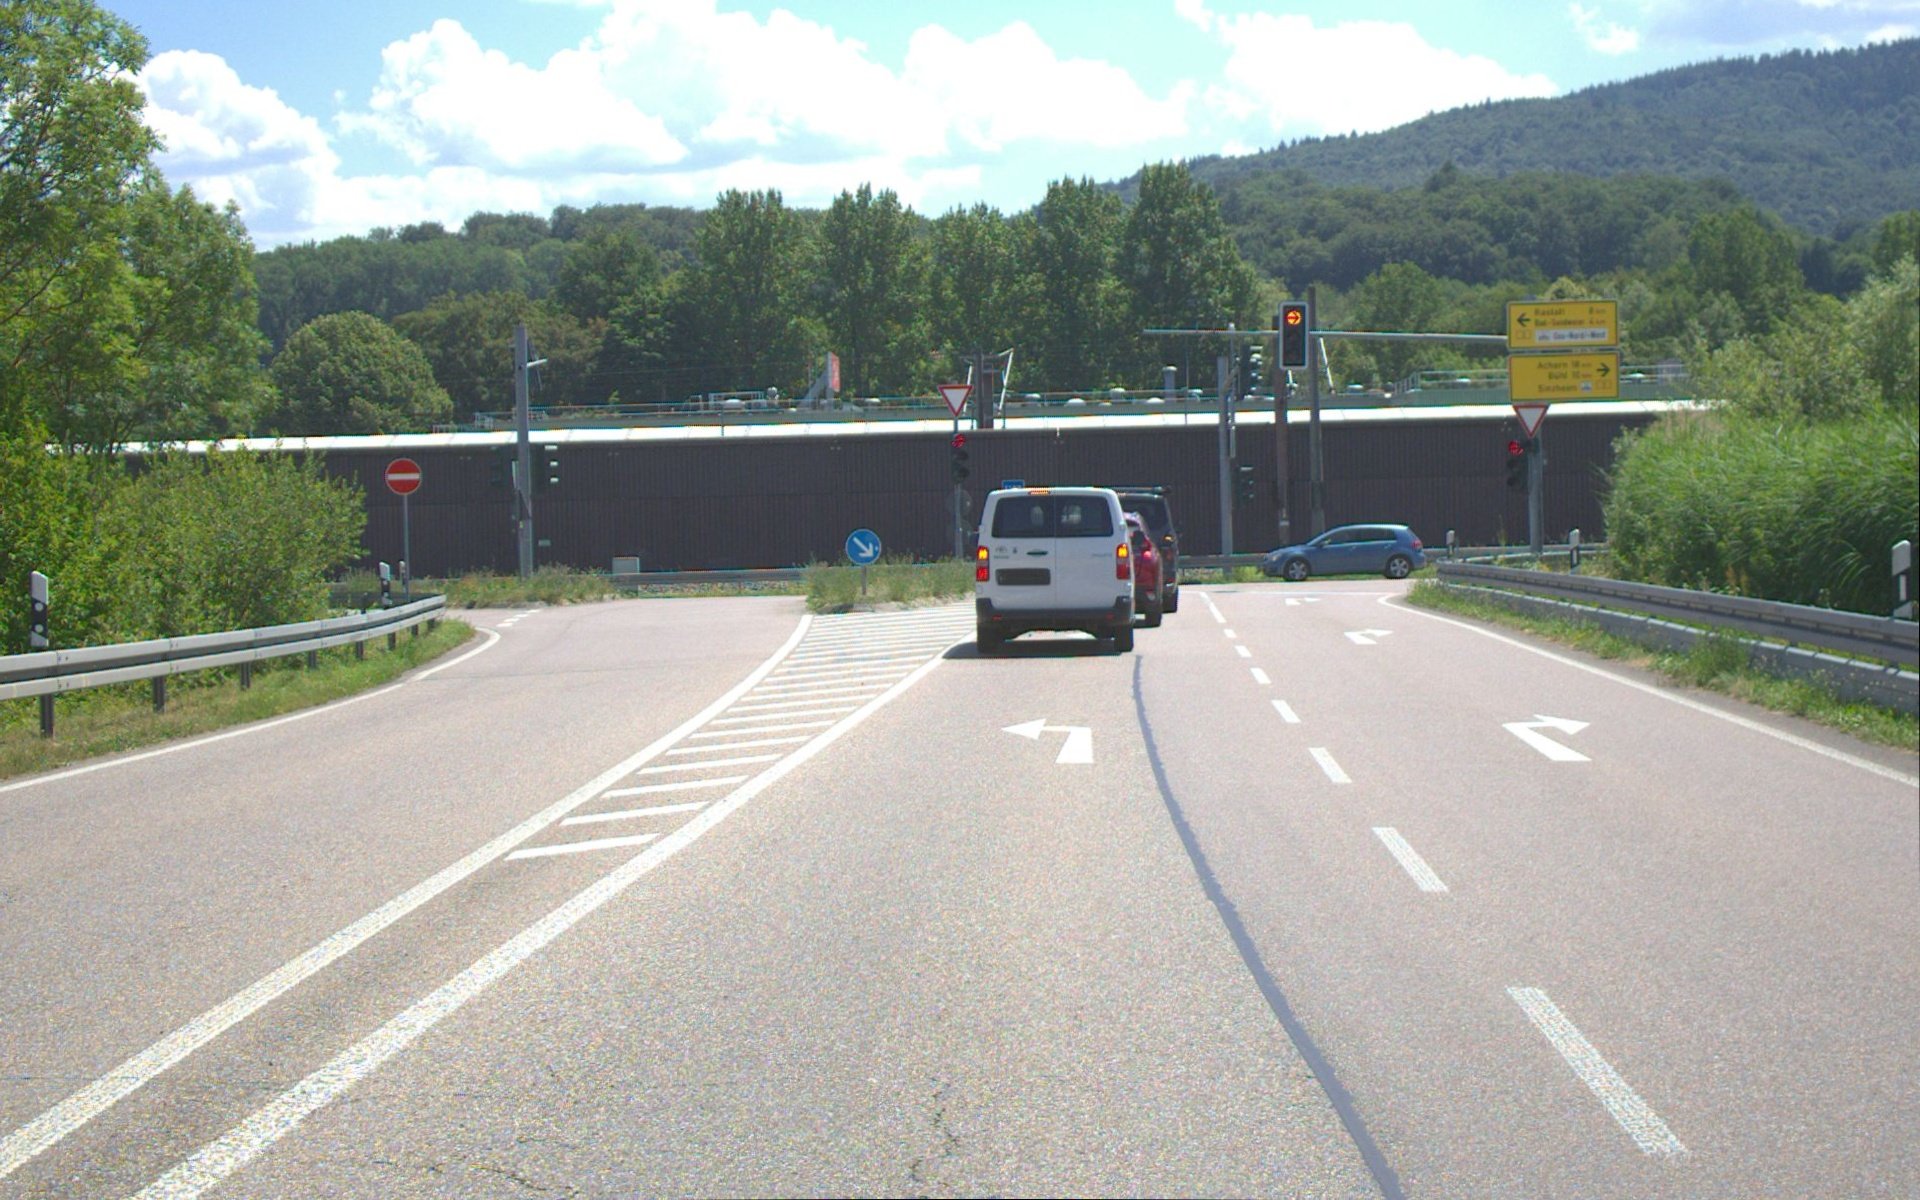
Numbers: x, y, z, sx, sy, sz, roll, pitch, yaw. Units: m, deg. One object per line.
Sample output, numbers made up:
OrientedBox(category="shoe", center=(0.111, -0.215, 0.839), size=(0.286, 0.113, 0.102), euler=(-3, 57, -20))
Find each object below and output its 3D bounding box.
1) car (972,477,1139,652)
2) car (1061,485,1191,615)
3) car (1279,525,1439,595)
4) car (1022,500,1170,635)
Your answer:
OrientedBox(category="car", center=(1.179, -0.444, 40.930), size=(1.870, 1.958, 4.000), euler=(-1, 1, 3))
OrientedBox(category="car", center=(2.776, -0.837, 57.218), size=(1.994, 2.006, 4.000), euler=(-3, 1, 3))
OrientedBox(category="car", center=(10.391, -1.047, 89.714), size=(3.987, 1.763, 2.000), euler=(-1, 1, 2))
OrientedBox(category="car", center=(2.024, -0.498, 50.287), size=(1.994, 1.806, 4.000), euler=(-3, 1, 3))
